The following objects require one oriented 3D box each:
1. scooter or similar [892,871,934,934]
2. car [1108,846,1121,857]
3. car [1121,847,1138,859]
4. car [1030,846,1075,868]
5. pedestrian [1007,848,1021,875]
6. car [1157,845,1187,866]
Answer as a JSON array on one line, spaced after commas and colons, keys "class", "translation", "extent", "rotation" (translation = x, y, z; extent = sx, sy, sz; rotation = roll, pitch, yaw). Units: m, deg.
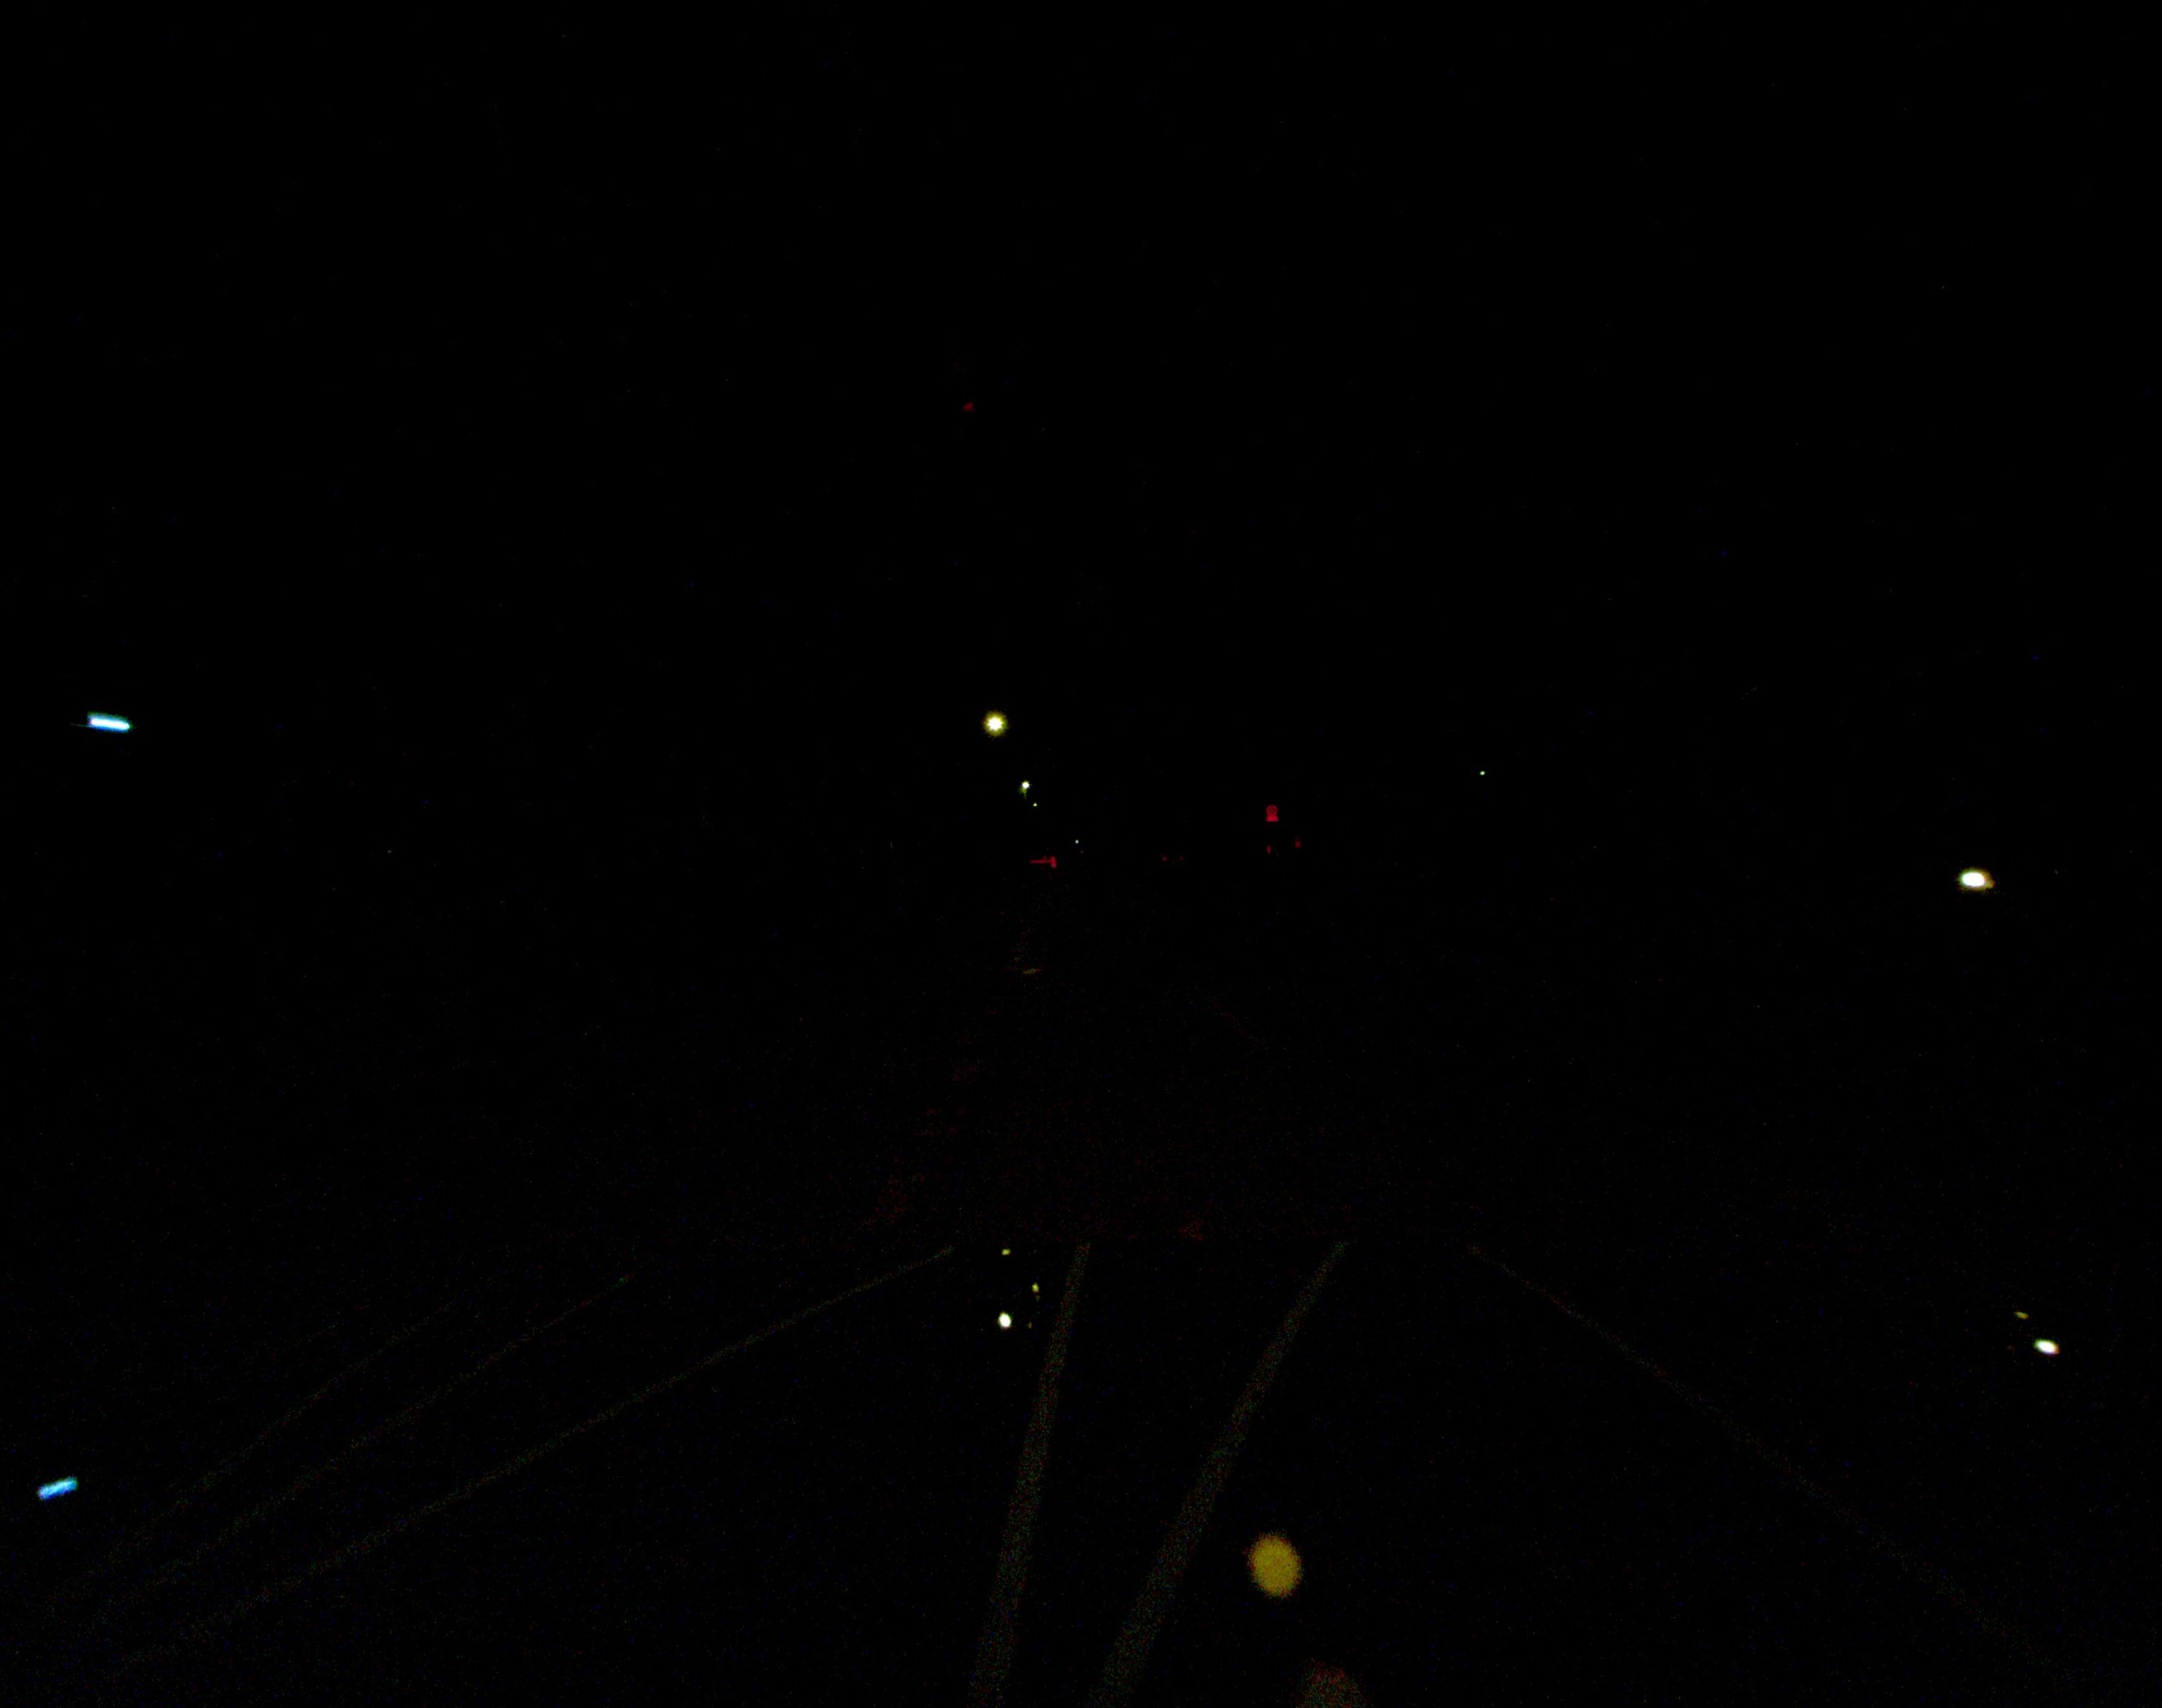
[{"class": "scooter or similar", "translation": [-3.575, 1.006, 16.241], "extent": [0.570, 1.271, 1.391], "rotation": [0, 0, 0]}, {"class": "car", "translation": [5.164, -0.408, 118.529], "extent": [1.911, 1.445, 3.999], "rotation": [-3, 2, 1]}, {"class": "car", "translation": [6.371, -0.167, 100.453], "extent": [1.911, 1.445, 3.999], "rotation": [-3, 2, 1]}, {"class": "car", "translation": [-2.601, 0.271, 70.589], "extent": [3.997, 1.821, 1.912], "rotation": [-3, 2, 0]}, {"class": "pedestrian", "translation": [-4.746, 0.517, 53.723], "extent": [0.824, 1.809, 0.608], "rotation": [-3, 2, 1]}, {"class": "car", "translation": [7.223, 0.111, 60.898], "extent": [1.911, 1.445, 3.999], "rotation": [-3, 2, 1]}]
